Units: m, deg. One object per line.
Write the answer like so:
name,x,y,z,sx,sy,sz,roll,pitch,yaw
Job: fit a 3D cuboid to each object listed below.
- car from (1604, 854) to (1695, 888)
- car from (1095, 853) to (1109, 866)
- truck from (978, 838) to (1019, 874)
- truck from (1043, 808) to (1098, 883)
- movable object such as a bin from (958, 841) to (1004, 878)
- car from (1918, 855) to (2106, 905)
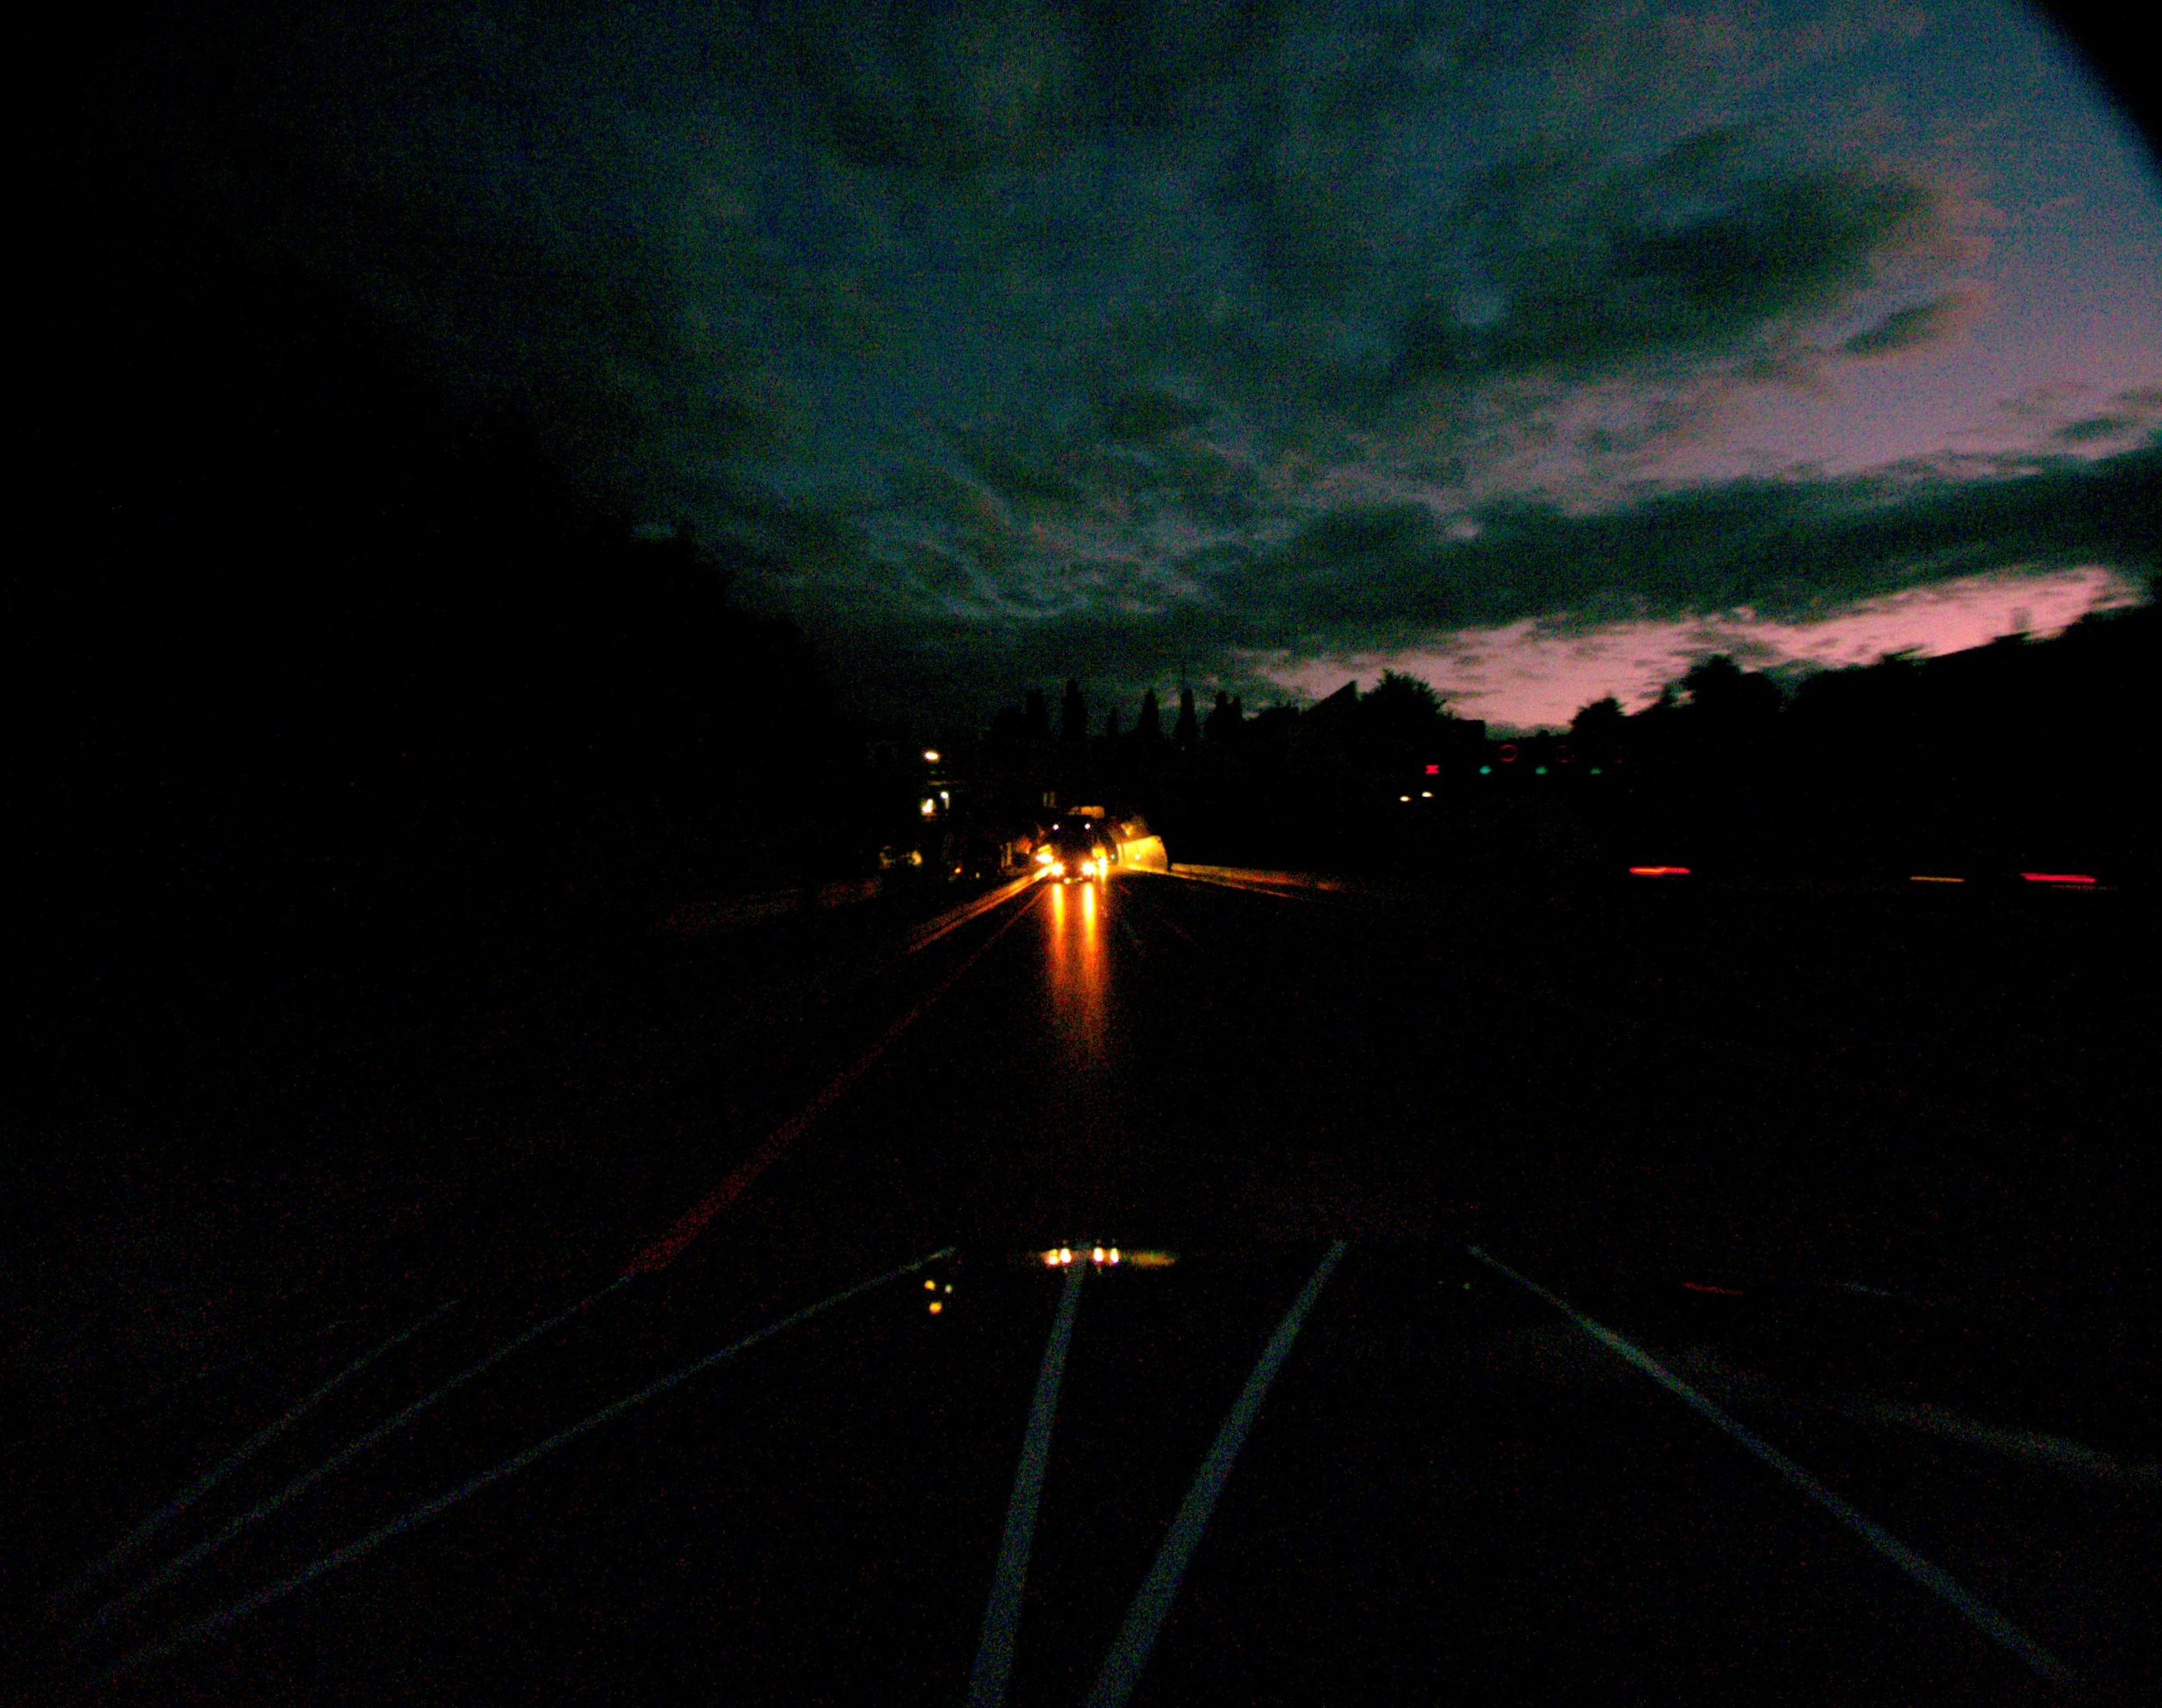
car,29.122,0.829,39.072,1.802,1.561,3.791,-3,1,1
car,2.716,0.674,96.832,1.663,1.586,3.996,-3,1,1
truck,-8.026,0.154,74.928,2.825,3.267,8.352,-3,1,1
truck,-0.486,-0.565,49.831,2.953,4.241,11.052,-3,1,1
movable object such as a bin,-8.385,0.409,64.680,2.978,2.811,7.194,-3,1,-1
car,31.833,0.838,26.185,1.580,1.461,4.095,-3,1,3
